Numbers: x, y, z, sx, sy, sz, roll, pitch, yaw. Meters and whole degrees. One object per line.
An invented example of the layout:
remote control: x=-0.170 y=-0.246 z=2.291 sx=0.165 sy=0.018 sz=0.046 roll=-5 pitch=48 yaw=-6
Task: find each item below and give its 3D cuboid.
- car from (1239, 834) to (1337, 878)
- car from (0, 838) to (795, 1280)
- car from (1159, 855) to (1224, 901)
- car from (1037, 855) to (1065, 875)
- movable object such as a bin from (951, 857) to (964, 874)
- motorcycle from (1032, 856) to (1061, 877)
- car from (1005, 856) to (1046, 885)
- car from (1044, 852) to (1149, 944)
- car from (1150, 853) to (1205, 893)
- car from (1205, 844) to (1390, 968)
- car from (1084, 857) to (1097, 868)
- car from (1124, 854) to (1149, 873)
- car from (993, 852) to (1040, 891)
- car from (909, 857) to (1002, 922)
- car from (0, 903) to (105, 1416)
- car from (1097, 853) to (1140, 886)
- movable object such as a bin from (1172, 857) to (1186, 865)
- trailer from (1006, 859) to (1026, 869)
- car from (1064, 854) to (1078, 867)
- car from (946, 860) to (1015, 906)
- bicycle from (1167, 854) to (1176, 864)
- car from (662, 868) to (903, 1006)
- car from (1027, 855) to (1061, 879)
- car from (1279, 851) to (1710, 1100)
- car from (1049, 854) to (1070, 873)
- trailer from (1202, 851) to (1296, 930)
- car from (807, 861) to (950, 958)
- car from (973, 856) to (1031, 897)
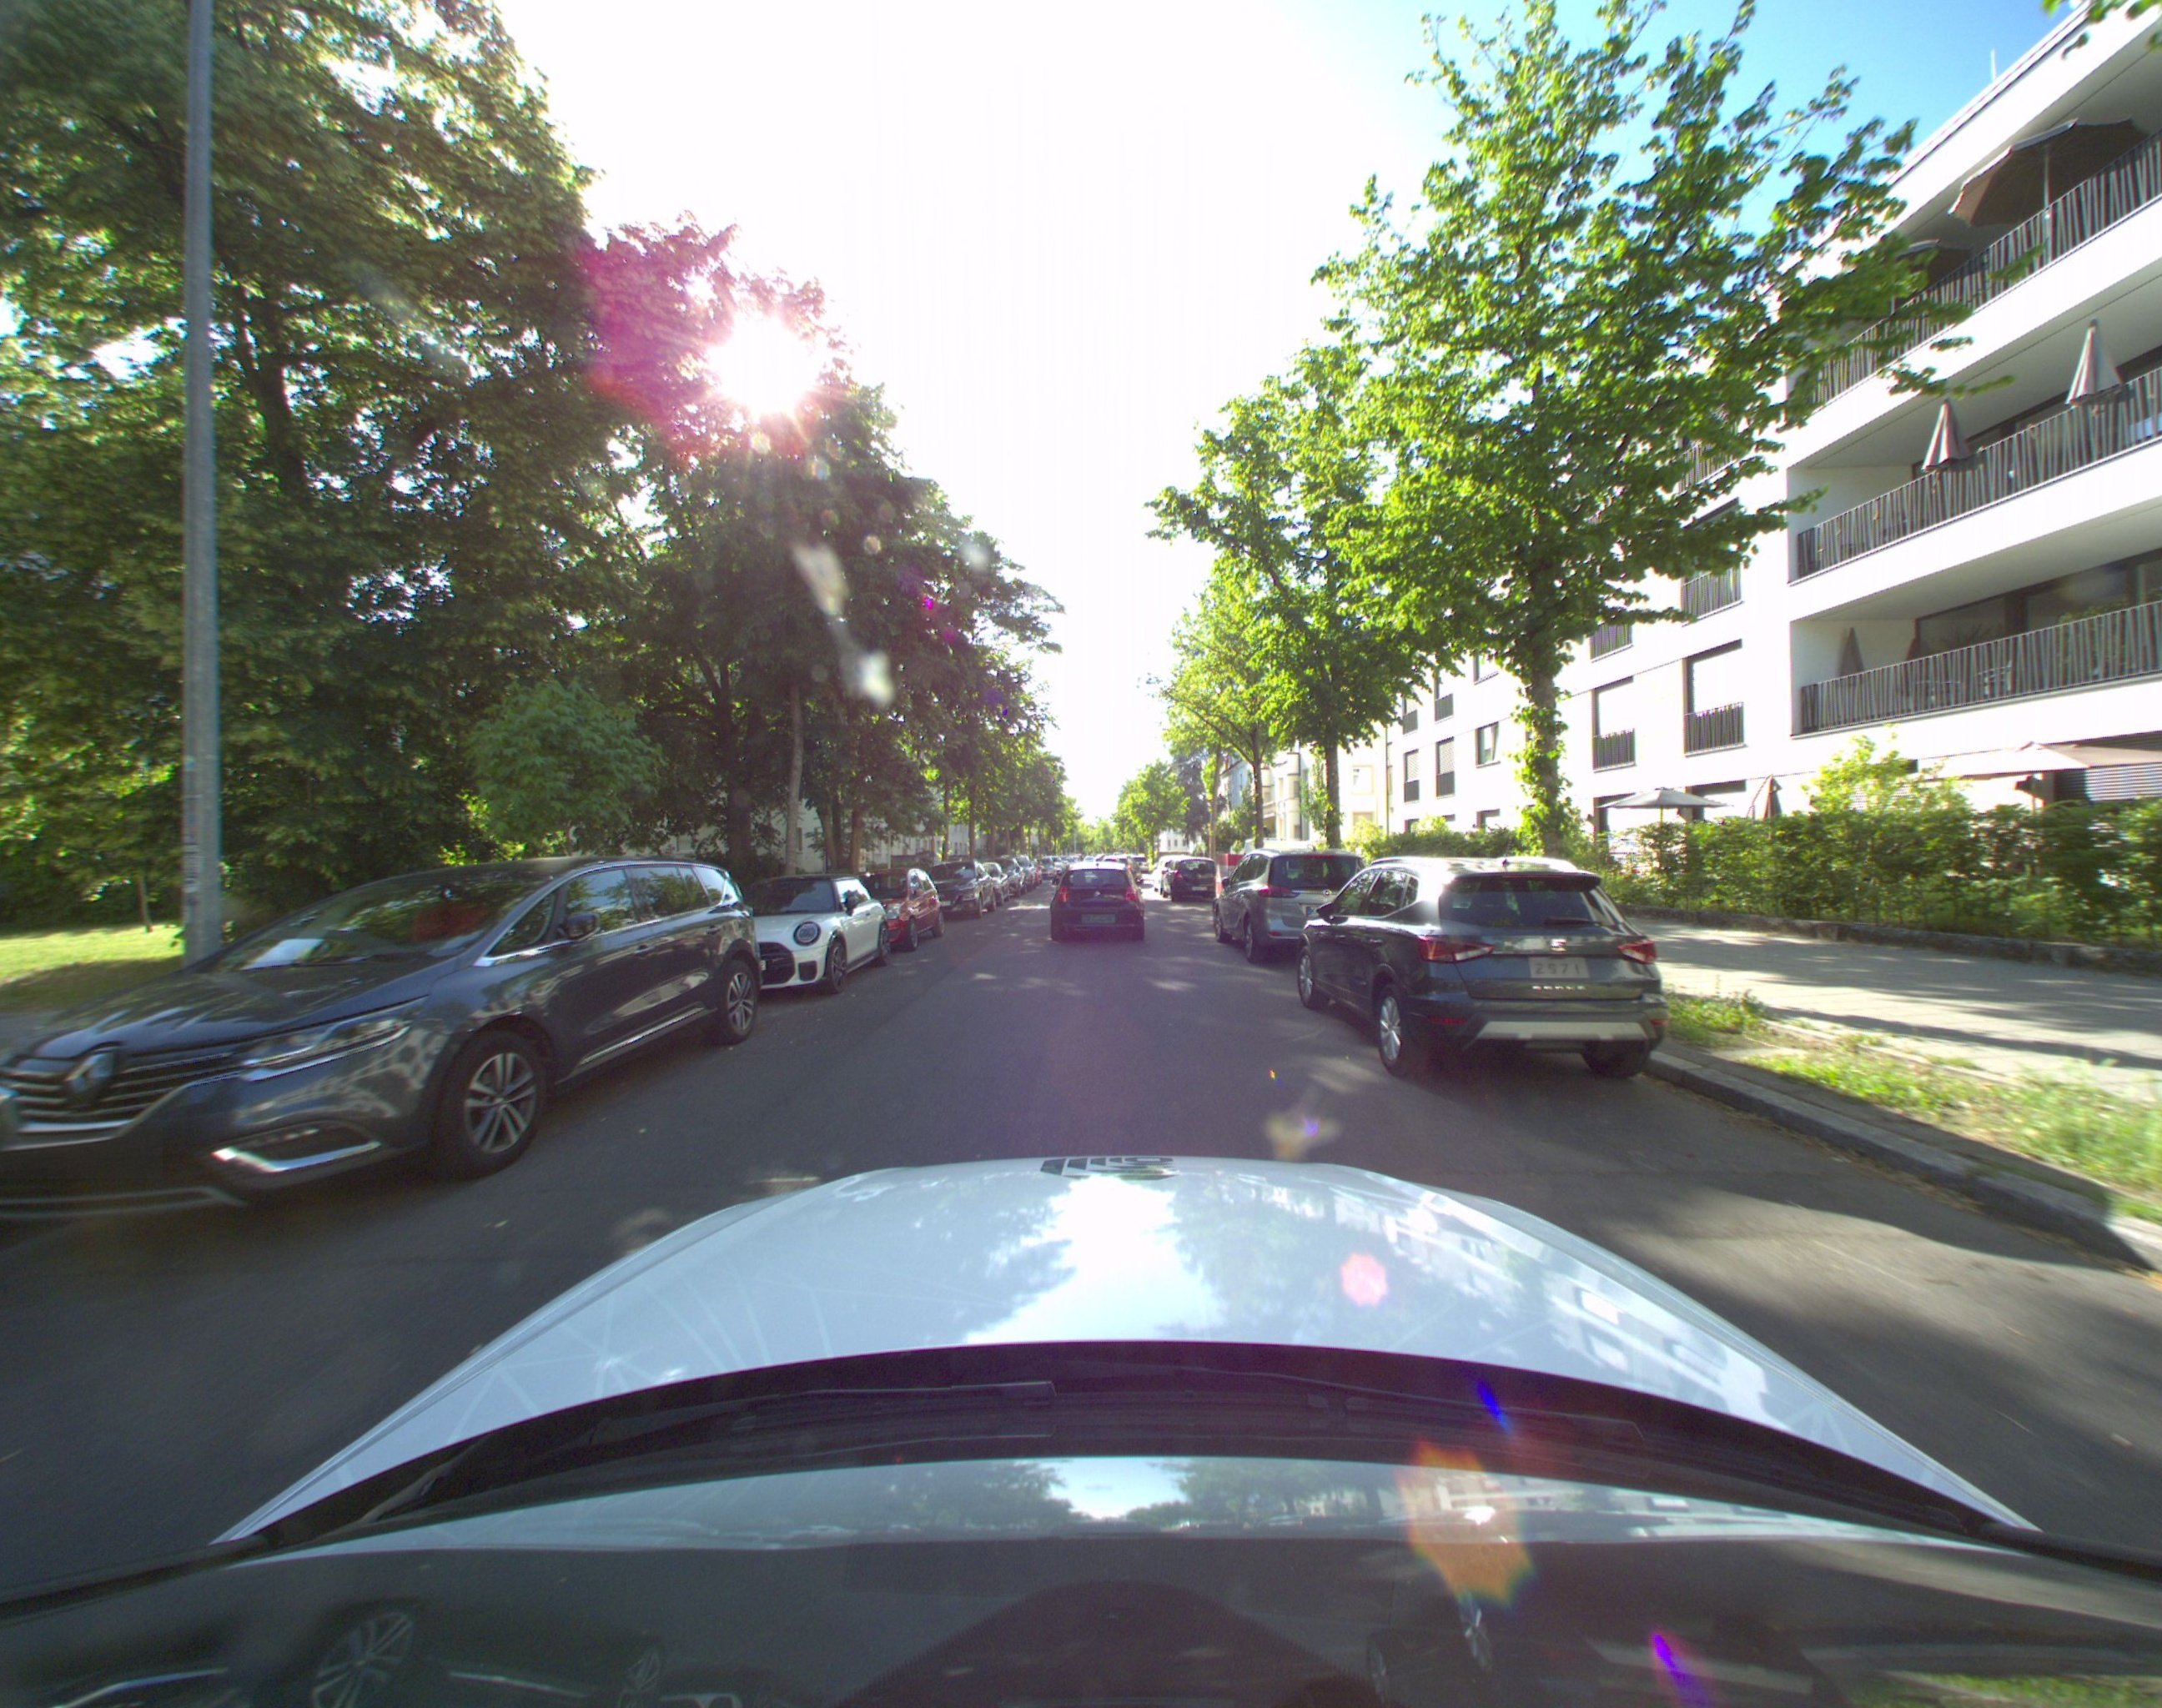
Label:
car: x=11.669 y=0.115 z=45.938 sx=5.061 sy=2.306 sz=2.218 roll=-1 pitch=0 yaw=-23
car: x=-3.877 y=0.801 z=5.680 sx=1.835 sy=1.656 sz=5.088 roll=-2 pitch=0 yaw=1
car: x=3.766 y=0.781 z=28.419 sx=1.665 sy=1.450 sz=4.178 roll=1 pitch=0 yaw=0
car: x=-2.342 y=0.840 z=64.209 sx=2.058 sy=1.524 sz=4.718 roll=-1 pitch=0 yaw=-2
movable object such as a bin: x=-9.993 y=0.937 z=65.982 sx=0.928 sy=1.324 sz=1.377 roll=-2 pitch=0 yaw=-4
motorcycle: x=-2.577 y=0.940 z=60.232 sx=0.994 sy=1.503 sz=2.208 roll=-2 pitch=0 yaw=-39
car: x=-3.016 y=0.884 z=44.910 sx=1.849 sy=1.469 sz=4.183 roll=-1 pitch=0 yaw=1
car: x=0.242 y=0.757 z=16.083 sx=1.777 sy=1.523 sz=3.998 roll=-2 pitch=0 yaw=-1
car: x=3.832 y=0.736 z=32.991 sx=1.727 sy=1.487 sz=4.008 roll=-1 pitch=0 yaw=-1
car: x=3.278 y=0.704 z=13.350 sx=1.786 sy=1.643 sz=4.819 roll=1 pitch=0 yaw=1
car: x=1.354 y=1.138 z=115.092 sx=1.803 sy=1.445 sz=4.366 roll=-3 pitch=0 yaw=0
car: x=4.653 y=0.774 z=68.704 sx=1.815 sy=1.469 sz=4.908 roll=0 pitch=0 yaw=0
car: x=-3.001 y=0.778 z=38.650 sx=1.762 sy=1.688 sz=4.814 roll=-2 pitch=0 yaw=0
car: x=-3.386 y=0.906 z=22.770 sx=1.699 sy=1.577 sz=4.484 roll=-2 pitch=0 yaw=2
car: x=-4.026 y=0.926 z=0.376 sx=1.701 sy=1.480 sz=4.489 roll=-2 pitch=0 yaw=0
car: x=1.794 y=0.770 z=40.406 sx=1.889 sy=1.524 sz=4.966 roll=0 pitch=-1 yaw=0
movable object such as a bin: x=11.266 y=0.794 z=93.785 sx=1.211 sy=0.905 sz=1.673 roll=-1 pitch=0 yaw=21
trailer: x=-7.253 y=1.075 z=90.718 sx=1.781 sy=1.034 sz=3.284 roll=-1 pitch=0 yaw=3
car: x=-1.305 y=0.843 z=108.774 sx=1.805 sy=1.596 sz=4.233 roll=-2 pitch=0 yaw=1
car: x=-3.359 y=0.935 z=27.984 sx=1.779 sy=1.352 sz=4.480 roll=-2 pitch=0 yaw=0
bicycle: x=11.803 y=0.605 z=106.152 sx=0.836 sy=1.257 sz=2.229 roll=-1 pitch=0 yaw=-2
car: x=-3.707 y=0.933 z=10.956 sx=1.649 sy=1.373 sz=4.188 roll=-2 pitch=0 yaw=0
car: x=-2.514 y=0.886 z=56.308 sx=2.036 sy=1.524 sz=4.606 roll=-1 pitch=0 yaw=0
car: x=3.064 y=0.747 z=7.174 sx=1.711 sy=1.516 sz=4.347 roll=-1 pitch=0 yaw=2
car: x=-1.949 y=0.873 z=75.957 sx=1.723 sy=1.618 sz=4.366 roll=-5 pitch=0 yaw=0
trailer: x=3.641 y=0.738 z=18.113 sx=1.568 sy=1.579 sz=3.194 roll=1 pitch=0 yaw=3
car: x=-3.656 y=0.927 z=15.429 sx=1.649 sy=1.505 sz=4.068 roll=-2 pitch=0 yaw=0
car: x=-3.171 y=0.867 z=33.413 sx=1.762 sy=1.531 sz=4.421 roll=-1 pitch=0 yaw=2
